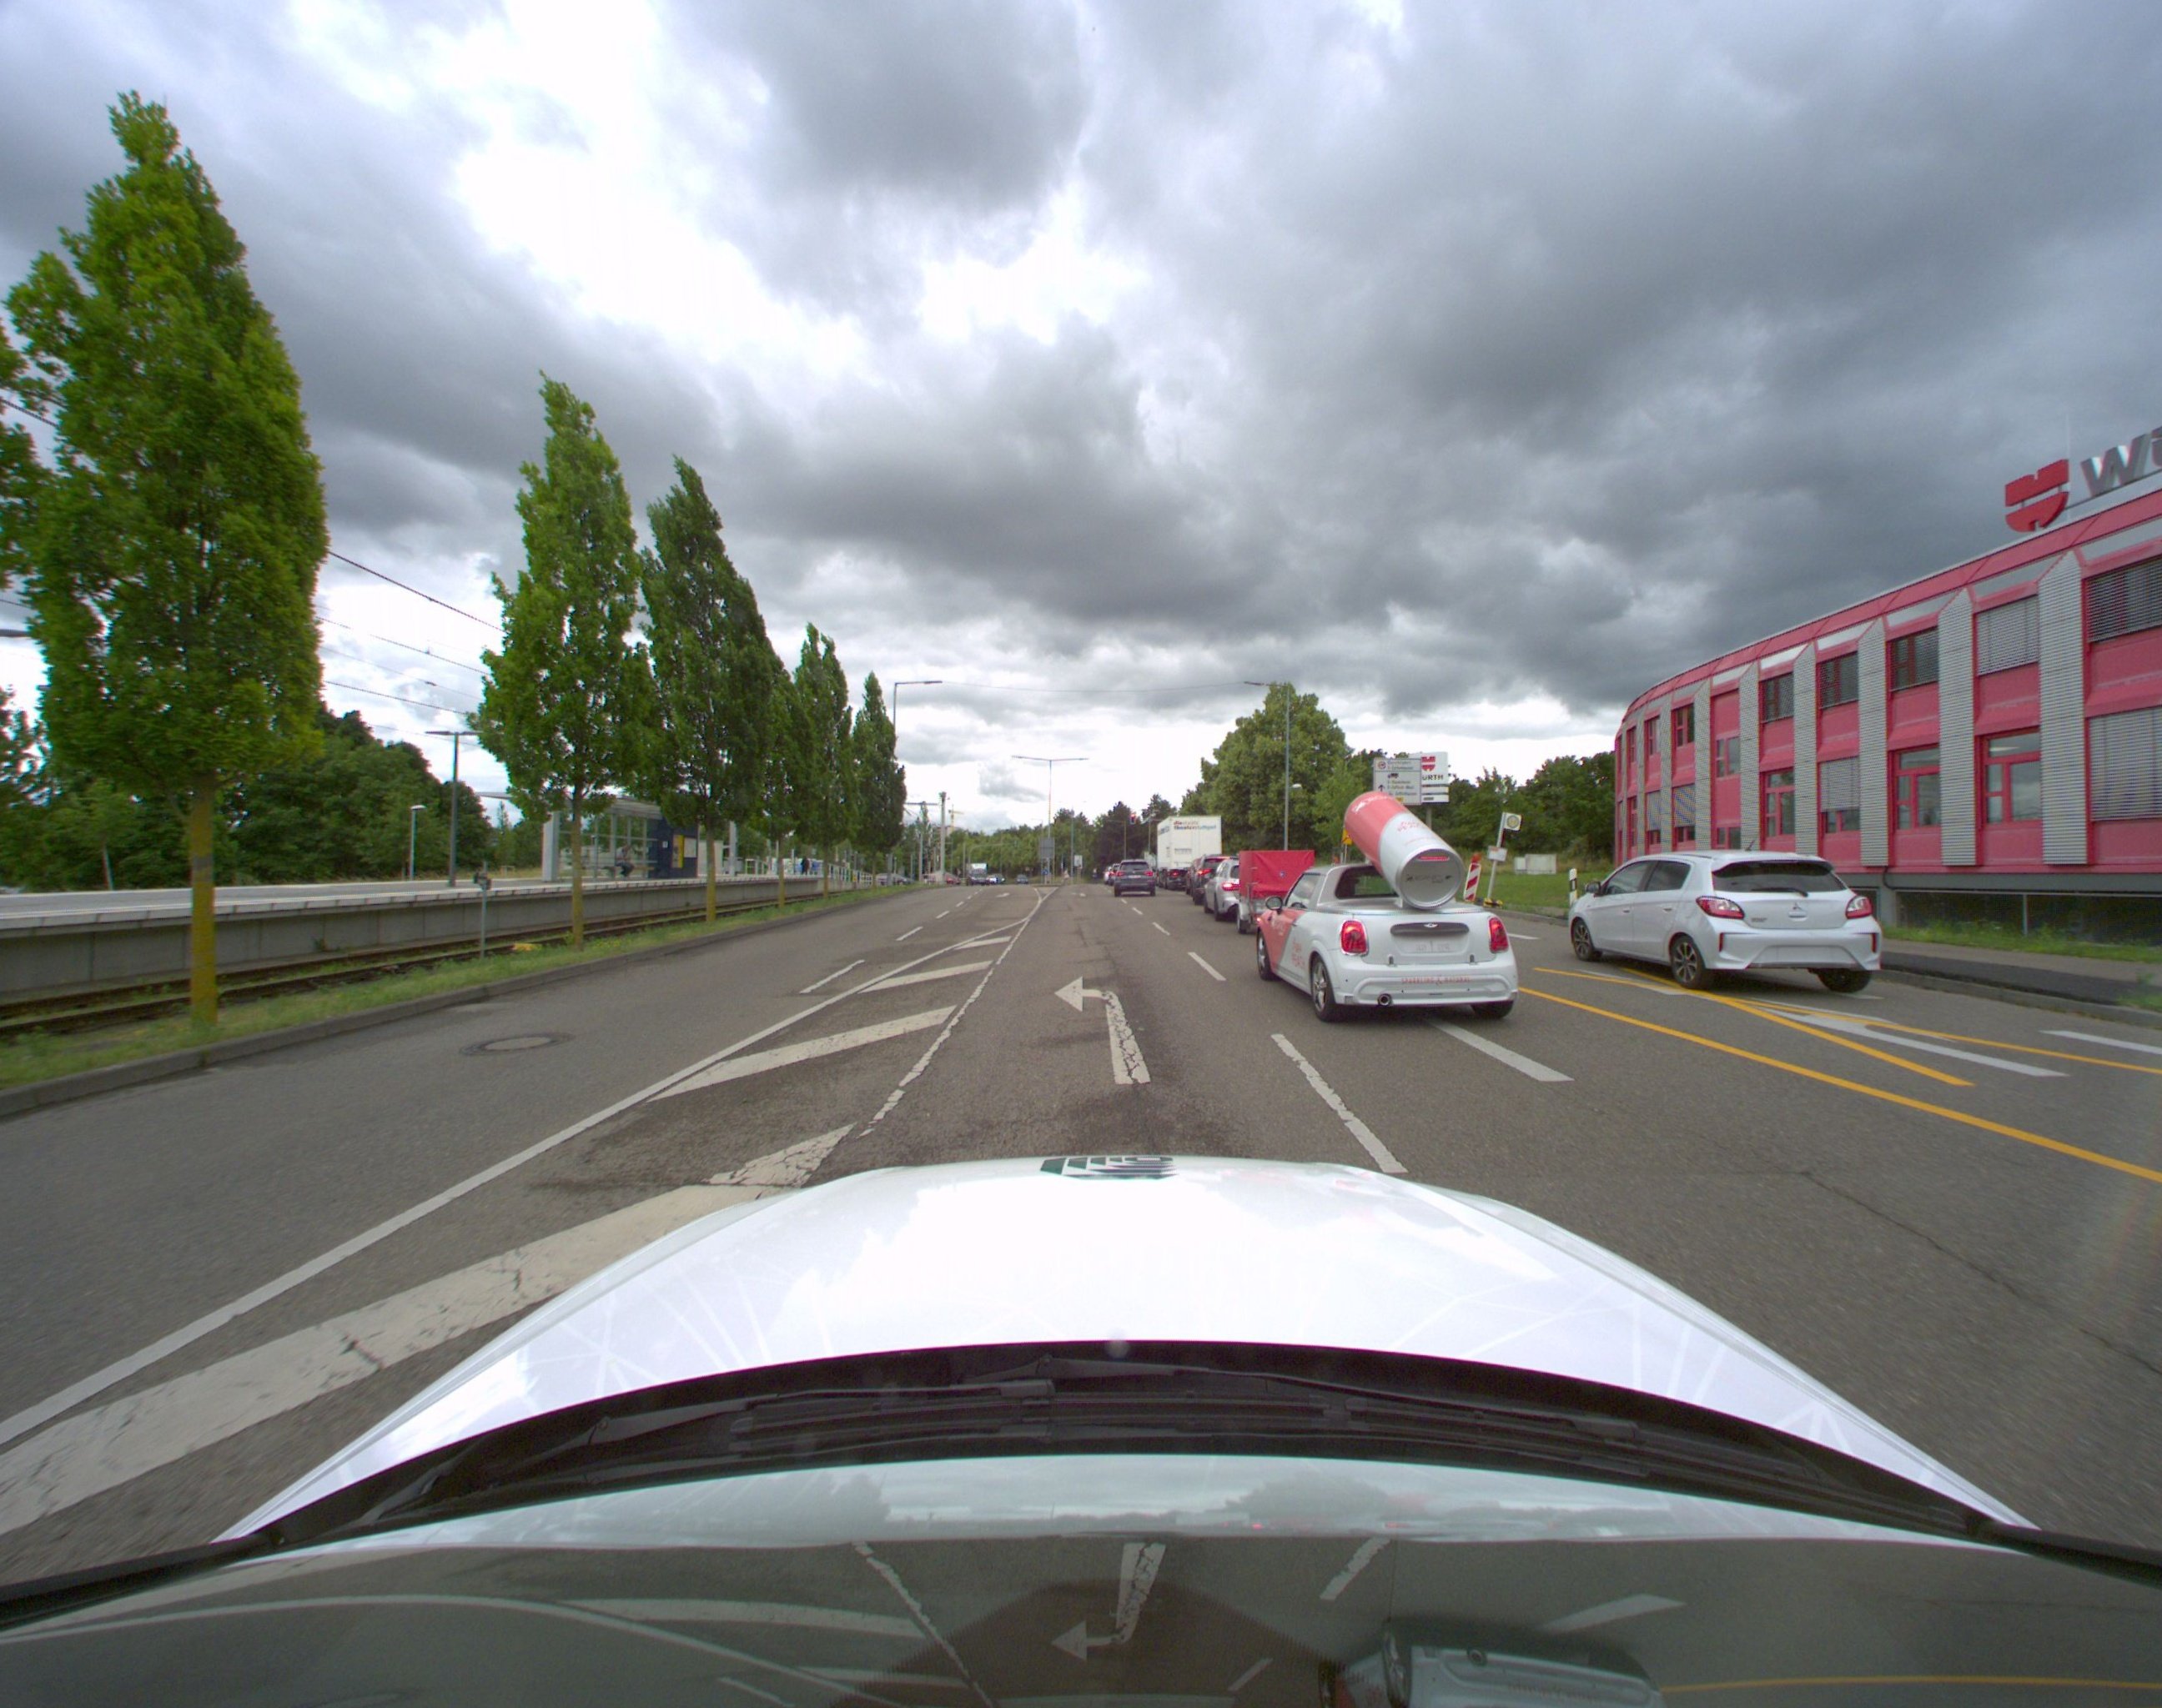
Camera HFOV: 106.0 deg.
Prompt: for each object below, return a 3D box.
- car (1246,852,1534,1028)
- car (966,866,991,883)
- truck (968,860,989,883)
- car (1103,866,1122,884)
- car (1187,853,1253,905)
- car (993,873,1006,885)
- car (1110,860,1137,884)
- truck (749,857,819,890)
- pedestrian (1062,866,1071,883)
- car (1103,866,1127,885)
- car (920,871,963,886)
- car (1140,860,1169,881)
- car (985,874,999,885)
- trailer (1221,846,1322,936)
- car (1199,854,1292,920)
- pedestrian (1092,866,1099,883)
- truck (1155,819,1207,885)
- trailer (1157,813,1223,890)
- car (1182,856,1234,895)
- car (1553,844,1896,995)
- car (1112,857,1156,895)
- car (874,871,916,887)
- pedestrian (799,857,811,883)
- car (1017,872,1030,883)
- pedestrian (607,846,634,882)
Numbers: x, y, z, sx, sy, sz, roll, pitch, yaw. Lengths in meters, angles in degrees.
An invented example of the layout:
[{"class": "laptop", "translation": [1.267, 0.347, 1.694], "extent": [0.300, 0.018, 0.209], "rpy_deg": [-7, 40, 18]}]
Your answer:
[{"class": "car", "translation": [2.975, 0.740, 8.702], "extent": [1.712, 1.457, 3.697], "rpy_deg": [-1, -1, 1]}, {"class": "car", "translation": [-9.743, 1.988, 77.398], "extent": [1.729, 1.574, 3.685], "rpy_deg": [-1, -2, -17]}, {"class": "truck", "translation": [-17.434, 2.970, 137.716], "extent": [2.662, 3.649, 9.463], "rpy_deg": [-1, 0, -12]}, {"class": "car", "translation": [2.738, 1.850, 71.262], "extent": [1.530, 1.504, 2.669], "rpy_deg": [-1, -2, 0]}, {"class": "car", "translation": [4.571, 0.791, 27.331], "extent": [1.835, 1.561, 4.411], "rpy_deg": [-1, -1, 6]}, {"class": "car", "translation": [-13.555, 4.184, 136.191], "extent": [1.912, 1.728, 3.995], "rpy_deg": [-1, 0, -3]}, {"class": "car", "translation": [2.965, 1.249, 56.930], "extent": [1.792, 1.523, 4.189], "rpy_deg": [-1, 0, 2]}, {"class": "truck", "translation": [-34.986, 2.283, 95.892], "extent": [7.199, 3.598, 2.698], "rpy_deg": [-1, 1, 7]}, {"class": "pedestrian", "translation": [-1.362, 1.977, 76.896], "extent": [0.861, 1.560, 0.518], "rpy_deg": [-1, 1, -2]}, {"class": "car", "translation": [2.715, 1.763, 65.951], "extent": [1.716, 1.422, 4.355], "rpy_deg": [-1, -2, 0]}, {"class": "car", "translation": [-14.716, 2.613, 85.944], "extent": [4.050, 1.488, 1.712], "rpy_deg": [-1, -1, 8]}, {"class": "car", "translation": [5.403, 1.230, 60.596], "extent": [1.819, 1.435, 4.213], "rpy_deg": [-1, -1, 1]}, {"class": "car", "translation": [-14.008, 3.965, 128.328], "extent": [1.771, 1.508, 3.743], "rpy_deg": [-1, 0, -3]}, {"class": "trailer", "translation": [3.723, 0.678, 16.349], "extent": [1.403, 1.594, 3.306], "rpy_deg": [-1, 0, 3]}, {"class": "car", "translation": [3.957, 0.755, 20.243], "extent": [1.664, 1.447, 4.493], "rpy_deg": [-1, -1, 4]}, {"class": "pedestrian", "translation": [1.394, 2.029, 78.934], "extent": [0.585, 1.621, 0.423], "rpy_deg": [-1, 1, -2]}, {"class": "truck", "translation": [5.766, -0.126, 47.651], "extent": [2.562, 3.705, 4.107], "rpy_deg": [-1, 0, 1]}, {"class": "trailer", "translation": [5.700, -0.121, 43.692], "extent": [2.557, 3.705, 7.765], "rpy_deg": [-1, 0, 1]}, {"class": "car", "translation": [5.242, 0.878, 33.978], "extent": [1.700, 1.524, 4.323], "rpy_deg": [-1, -1, 3]}, {"class": "car", "translation": [7.326, 0.662, 9.787], "extent": [1.613, 1.457, 3.698], "rpy_deg": [-1, -1, 9]}, {"class": "car", "translation": [2.203, 0.924, 34.864], "extent": [1.692, 1.486, 4.001], "rpy_deg": [-1, -1, 1]}, {"class": "car", "translation": [-20.304, 2.774, 88.998], "extent": [3.964, 1.596, 2.005], "rpy_deg": [-1, 1, 8]}, {"class": "pedestrian", "translation": [-19.729, 1.121, 58.196], "extent": [0.571, 1.828, 0.792], "rpy_deg": [0, -2, -4]}, {"class": "car", "translation": [-9.199, 3.741, 129.967], "extent": [1.914, 1.576, 3.990], "rpy_deg": [-1, 0, -7]}, {"class": "pedestrian", "translation": [-16.874, 0.355, 29.840], "extent": [0.609, 1.269, 0.659], "rpy_deg": [-1, 1, -5]}]
